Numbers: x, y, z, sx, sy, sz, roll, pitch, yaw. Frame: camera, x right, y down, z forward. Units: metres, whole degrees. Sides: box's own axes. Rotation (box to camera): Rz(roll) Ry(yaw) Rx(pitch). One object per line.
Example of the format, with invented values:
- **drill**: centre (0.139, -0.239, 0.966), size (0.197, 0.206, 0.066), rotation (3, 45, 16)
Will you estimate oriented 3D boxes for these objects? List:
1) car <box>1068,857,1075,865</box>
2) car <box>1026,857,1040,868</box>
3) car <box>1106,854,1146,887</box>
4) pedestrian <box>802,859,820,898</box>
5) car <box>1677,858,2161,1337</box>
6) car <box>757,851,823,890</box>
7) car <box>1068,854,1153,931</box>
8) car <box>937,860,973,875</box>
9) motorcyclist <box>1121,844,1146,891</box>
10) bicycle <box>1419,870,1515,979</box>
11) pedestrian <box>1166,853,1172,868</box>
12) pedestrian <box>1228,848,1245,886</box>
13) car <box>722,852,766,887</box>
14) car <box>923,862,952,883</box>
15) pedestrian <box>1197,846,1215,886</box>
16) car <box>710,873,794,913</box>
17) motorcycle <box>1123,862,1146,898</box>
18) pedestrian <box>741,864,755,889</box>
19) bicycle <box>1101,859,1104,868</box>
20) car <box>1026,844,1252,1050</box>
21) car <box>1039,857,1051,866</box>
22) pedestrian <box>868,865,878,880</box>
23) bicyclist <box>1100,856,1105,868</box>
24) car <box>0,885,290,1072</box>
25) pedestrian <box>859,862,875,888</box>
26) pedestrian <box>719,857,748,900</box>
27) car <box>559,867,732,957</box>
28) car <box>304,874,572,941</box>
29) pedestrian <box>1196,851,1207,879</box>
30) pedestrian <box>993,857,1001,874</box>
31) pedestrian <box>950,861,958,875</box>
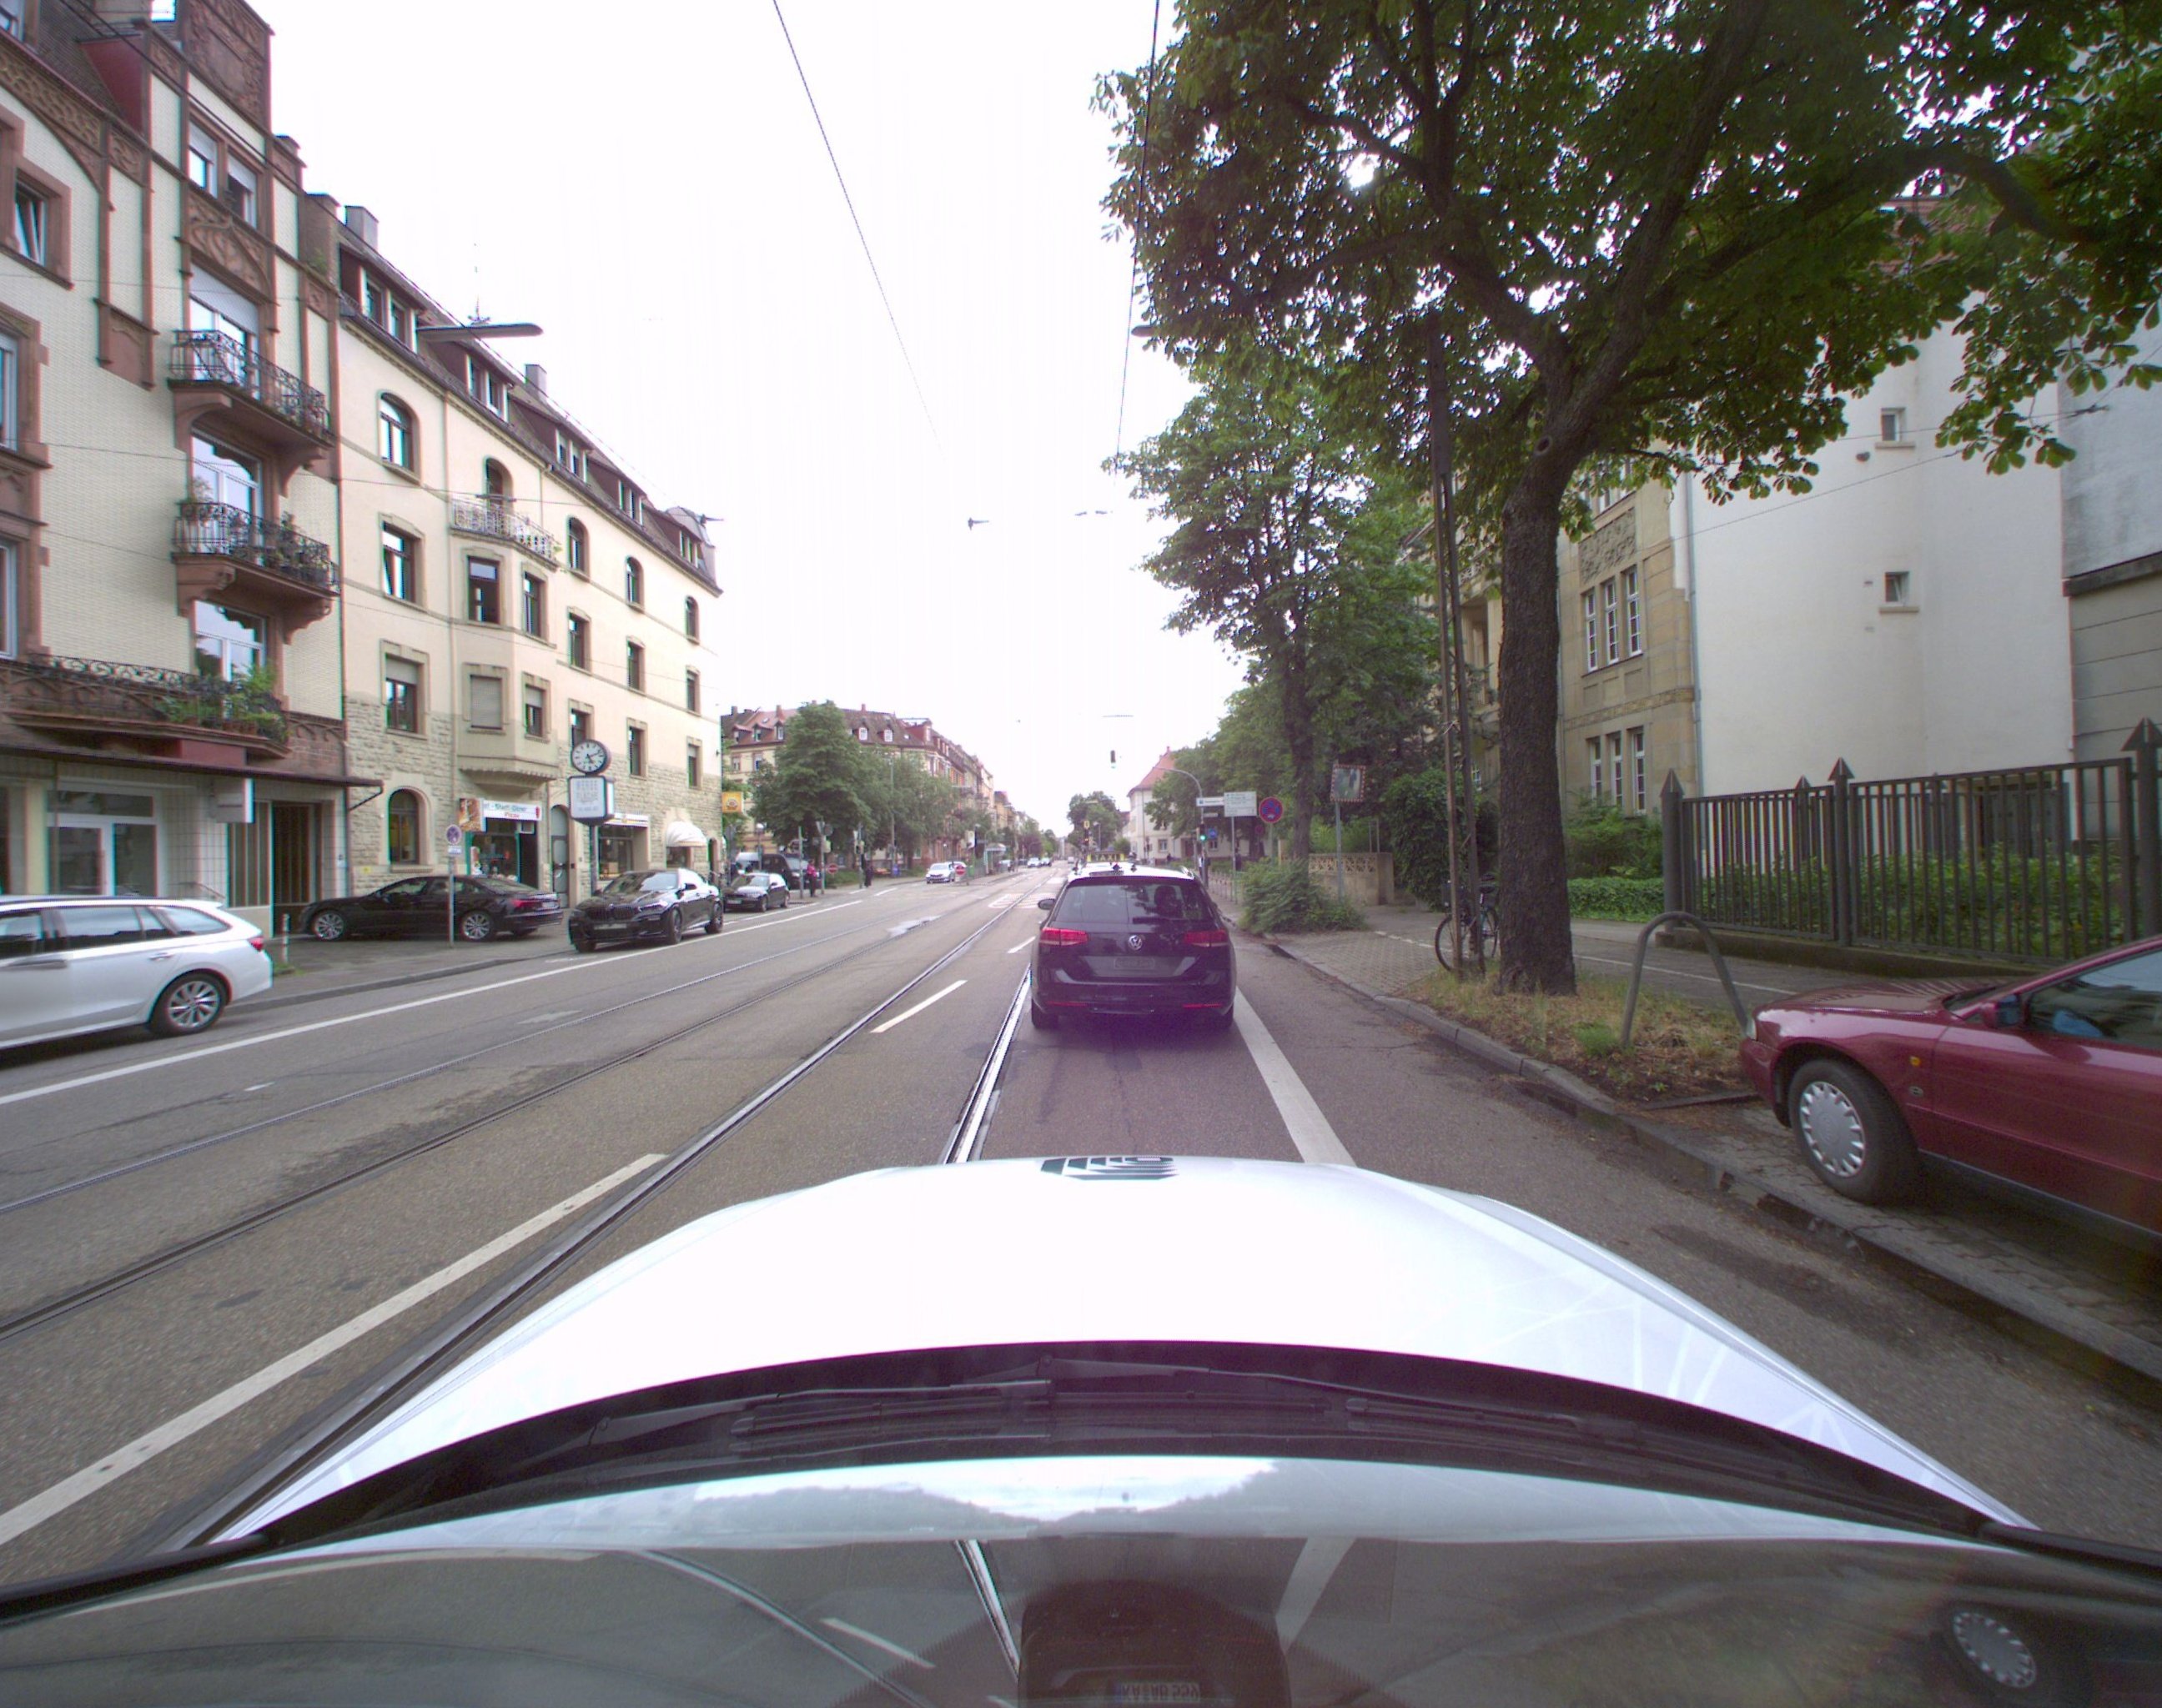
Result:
- **car**: centre (-2.584, 1.891, 220.783), size (2.026, 2.014, 3.999), rotation (-1, -1, 0)
- **car**: centre (-7.833, 1.373, 133.380), size (1.788, 1.596, 4.003), rotation (-2, 0, 2)
- **car**: centre (2.198, 0.789, 40.338), size (1.718, 1.546, 3.999), rotation (-1, 0, 0)
- **pedestrian**: centre (-13.178, 1.190, 39.796), size (0.621, 1.842, 0.609), rotation (-2, -1, -3)
- **car**: centre (4.151, 0.768, 2.418), size (1.597, 1.399, 4.226), rotation (-4, 0, 0)
- **car**: centre (-19.306, 1.089, 53.858), size (2.198, 2.417, 5.315), rotation (-1, 0, -43)
- **car**: centre (0.611, 0.802, 18.777), size (1.718, 1.546, 3.999), rotation (-1, 0, 0)
- **car**: centre (-14.781, 1.614, 95.692), size (1.704, 1.622, 3.887), rotation (-2, 0, 42)
- **motorcyclist**: centre (1.911, 0.489, 29.729), size (0.697, 1.692, 0.808), rotation (-2, 0, 16)
- **bicycle**: centre (4.780, 0.815, 10.011), size (0.428, 1.198, 1.915), rotation (-2, -2, 45)
- **pedestrian**: centre (9.012, 0.695, 83.608), size (0.579, 1.553, 0.610), rotation (-1, -1, 3)
- **pedestrian**: centre (7.433, 0.612, 38.953), size (0.630, 1.815, 0.725), rotation (-2, -1, -3)
- **car**: centre (-25.630, 1.180, 61.812), size (2.194, 2.527, 5.325), rotation (-2, 0, -32)
- **car**: centre (-10.484, 1.331, 59.782), size (1.686, 1.410, 3.993), rotation (-3, 0, -5)
- **pedestrian**: centre (5.824, 0.554, 37.977), size (0.583, 1.831, 0.604), rotation (-5, -1, 1)
- **car**: centre (-12.396, 1.433, 30.943), size (1.645, 1.361, 4.125), rotation (1, 0, -2)
- **motorcycle**: centre (1.960, 0.914, 29.592), size (0.443, 1.235, 1.914), rotation (-2, 0, 15)
- **pedestrian**: centre (-23.372, 1.566, 57.167), size (0.703, 1.715, 0.545), rotation (-1, -1, -40)
- **bicycle**: centre (2.863, 1.270, 108.724), size (0.295, 1.223, 1.433), rotation (-2, 0, 7)
- **car**: centre (0.448, 0.721, 8.301), size (1.718, 1.546, 3.999), rotation (-1, 0, 0)
- **car**: centre (-6.551, 1.406, 150.267), size (1.788, 1.596, 4.003), rotation (-2, 0, 2)
- **pedestrian**: centre (-17.705, 1.568, 69.212), size (0.591, 1.168, 0.837), rotation (-1, -1, -29)
- **bicyclist**: centre (2.877, 1.016, 108.801), size (0.648, 1.568, 0.697), rotation (-2, 0, 7)
- **car**: centre (-10.000, 1.123, 7.091), size (1.742, 1.484, 4.607), rotation (-2, 0, -1)
- **pedestrian**: centre (-13.866, 1.340, 52.855), size (0.833, 1.663, 0.591), rotation (-2, -1, 1)
- **pedestrian**: centre (-17.011, 1.181, 39.865), size (0.971, 2.013, 0.835), rotation (-2, 0, -1)
- **car**: centre (-9.724, 1.194, 18.699), size (1.882, 1.611, 4.872), rotation (-4, 0, -9)
- **car**: centre (-14.419, 1.189, 18.503), size (4.418, 1.370, 1.877), rotation (1, 0, -5)
- **pedestrian**: centre (7.871, 0.724, 53.242), size (0.512, 1.831, 0.418), rotation (-5, -1, 1)
- **pedestrian**: centre (-7.913, 1.076, 76.756), size (0.711, 1.521, 0.590), rotation (-2, -1, 1)
- **pedestrian**: centre (-14.114, 1.601, 90.689), size (0.582, 1.521, 0.653), rotation (-2, -1, 35)
